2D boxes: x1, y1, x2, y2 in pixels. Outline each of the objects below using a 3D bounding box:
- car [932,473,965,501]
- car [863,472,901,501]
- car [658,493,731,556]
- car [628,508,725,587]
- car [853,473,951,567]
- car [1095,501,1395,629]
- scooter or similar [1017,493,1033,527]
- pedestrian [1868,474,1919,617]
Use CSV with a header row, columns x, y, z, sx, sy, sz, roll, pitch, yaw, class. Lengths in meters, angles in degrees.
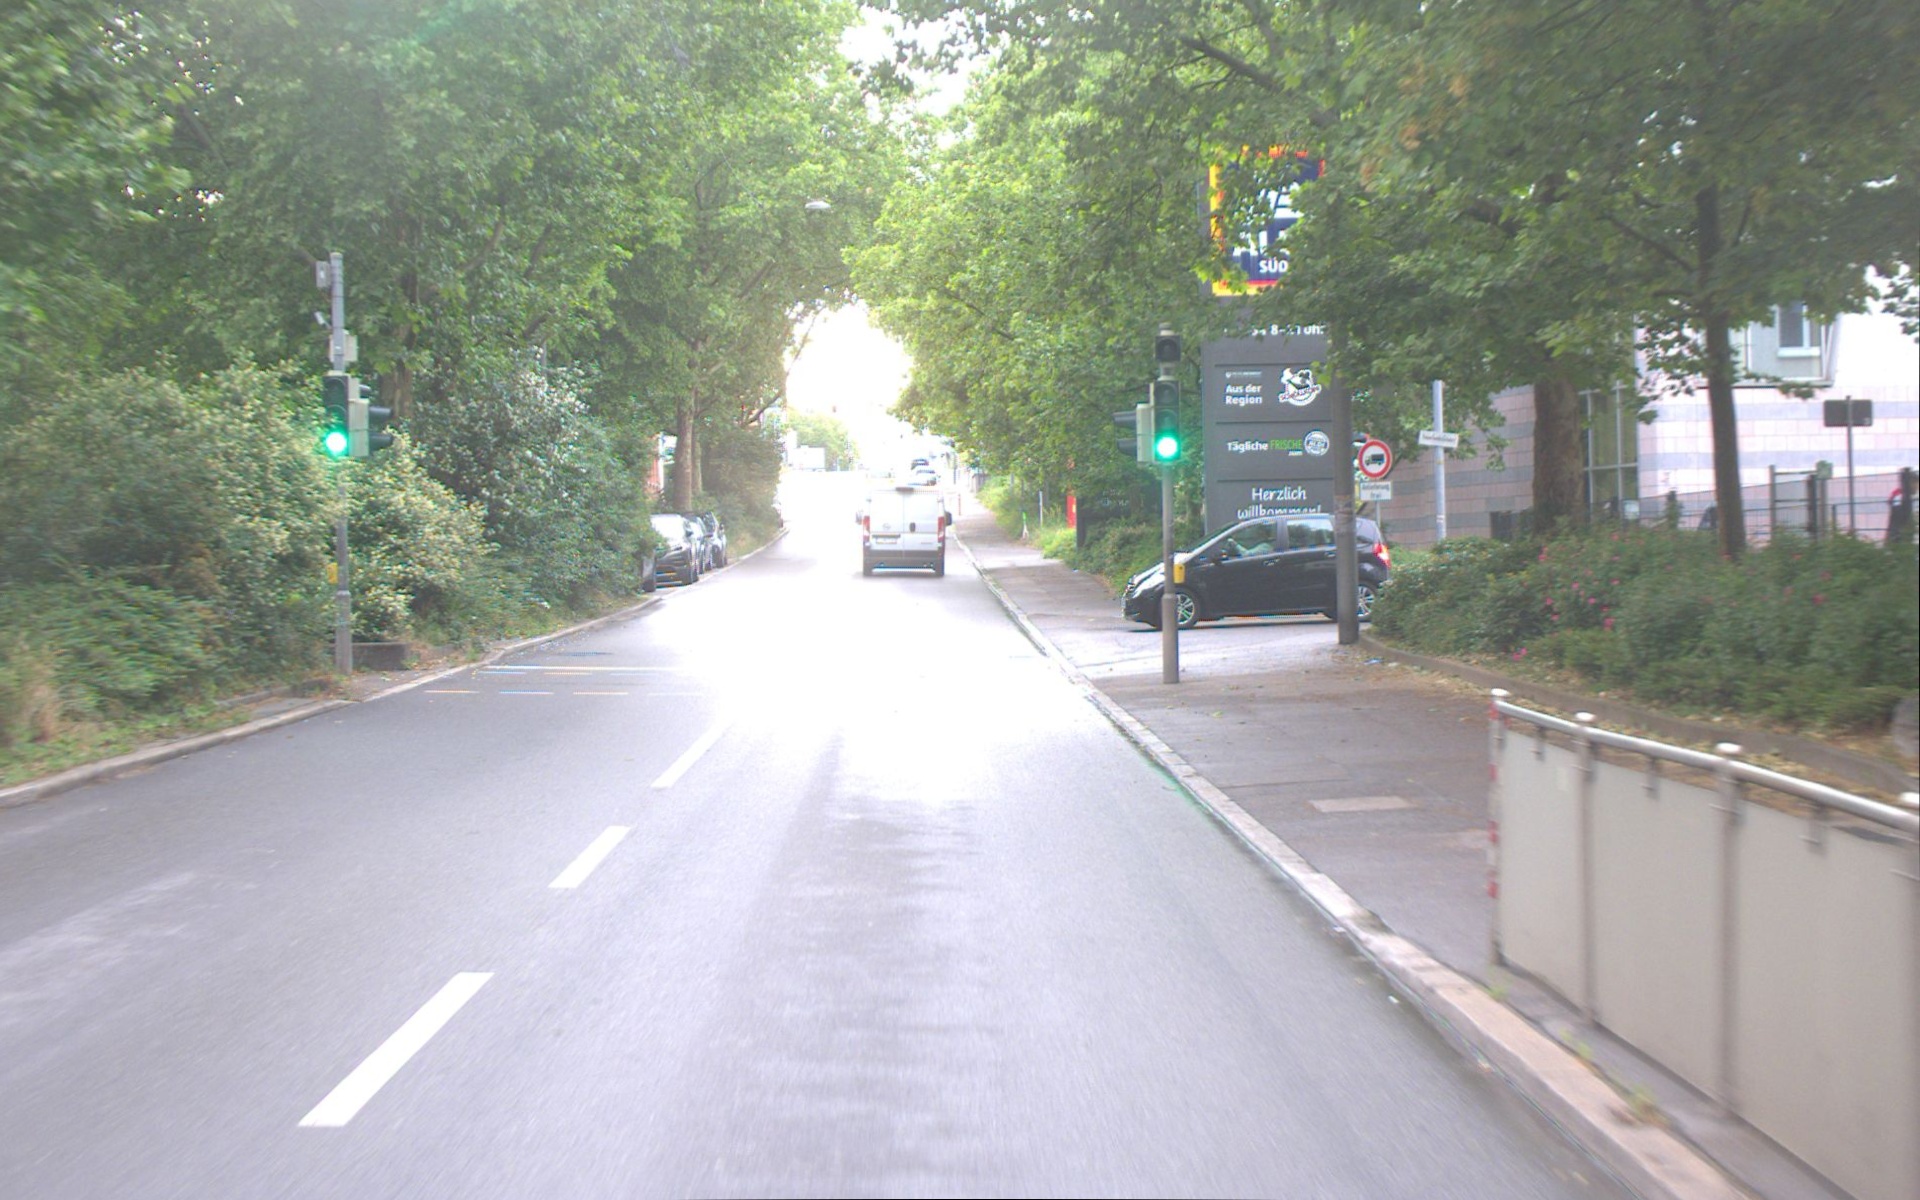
x,y,z,sx,sy,sz,roll,pitch,yaw,class
-0.743,-7.344,223.754,1.930,1.703,3.873,1,0,3,car
-5.128,-7.434,225.740,2.159,1.703,3.873,1,0,3,car
-7.173,-2.062,93.137,1.647,1.532,4.019,-4,2,-1,car
-6.282,-1.195,76.518,1.864,1.585,4.240,-3,2,-2,car
-1.411,-1.985,85.701,2.336,2.223,4.000,-2,1,0,car
4.003,-0.516,48.702,3.848,1.542,2.027,-3,2,-6,car
2.252,-3.087,118.456,0.425,1.138,1.529,1,0,-3,scooter or similar
12.167,-0.699,44.058,0.829,1.822,0.959,0,1,3,pedestrian
